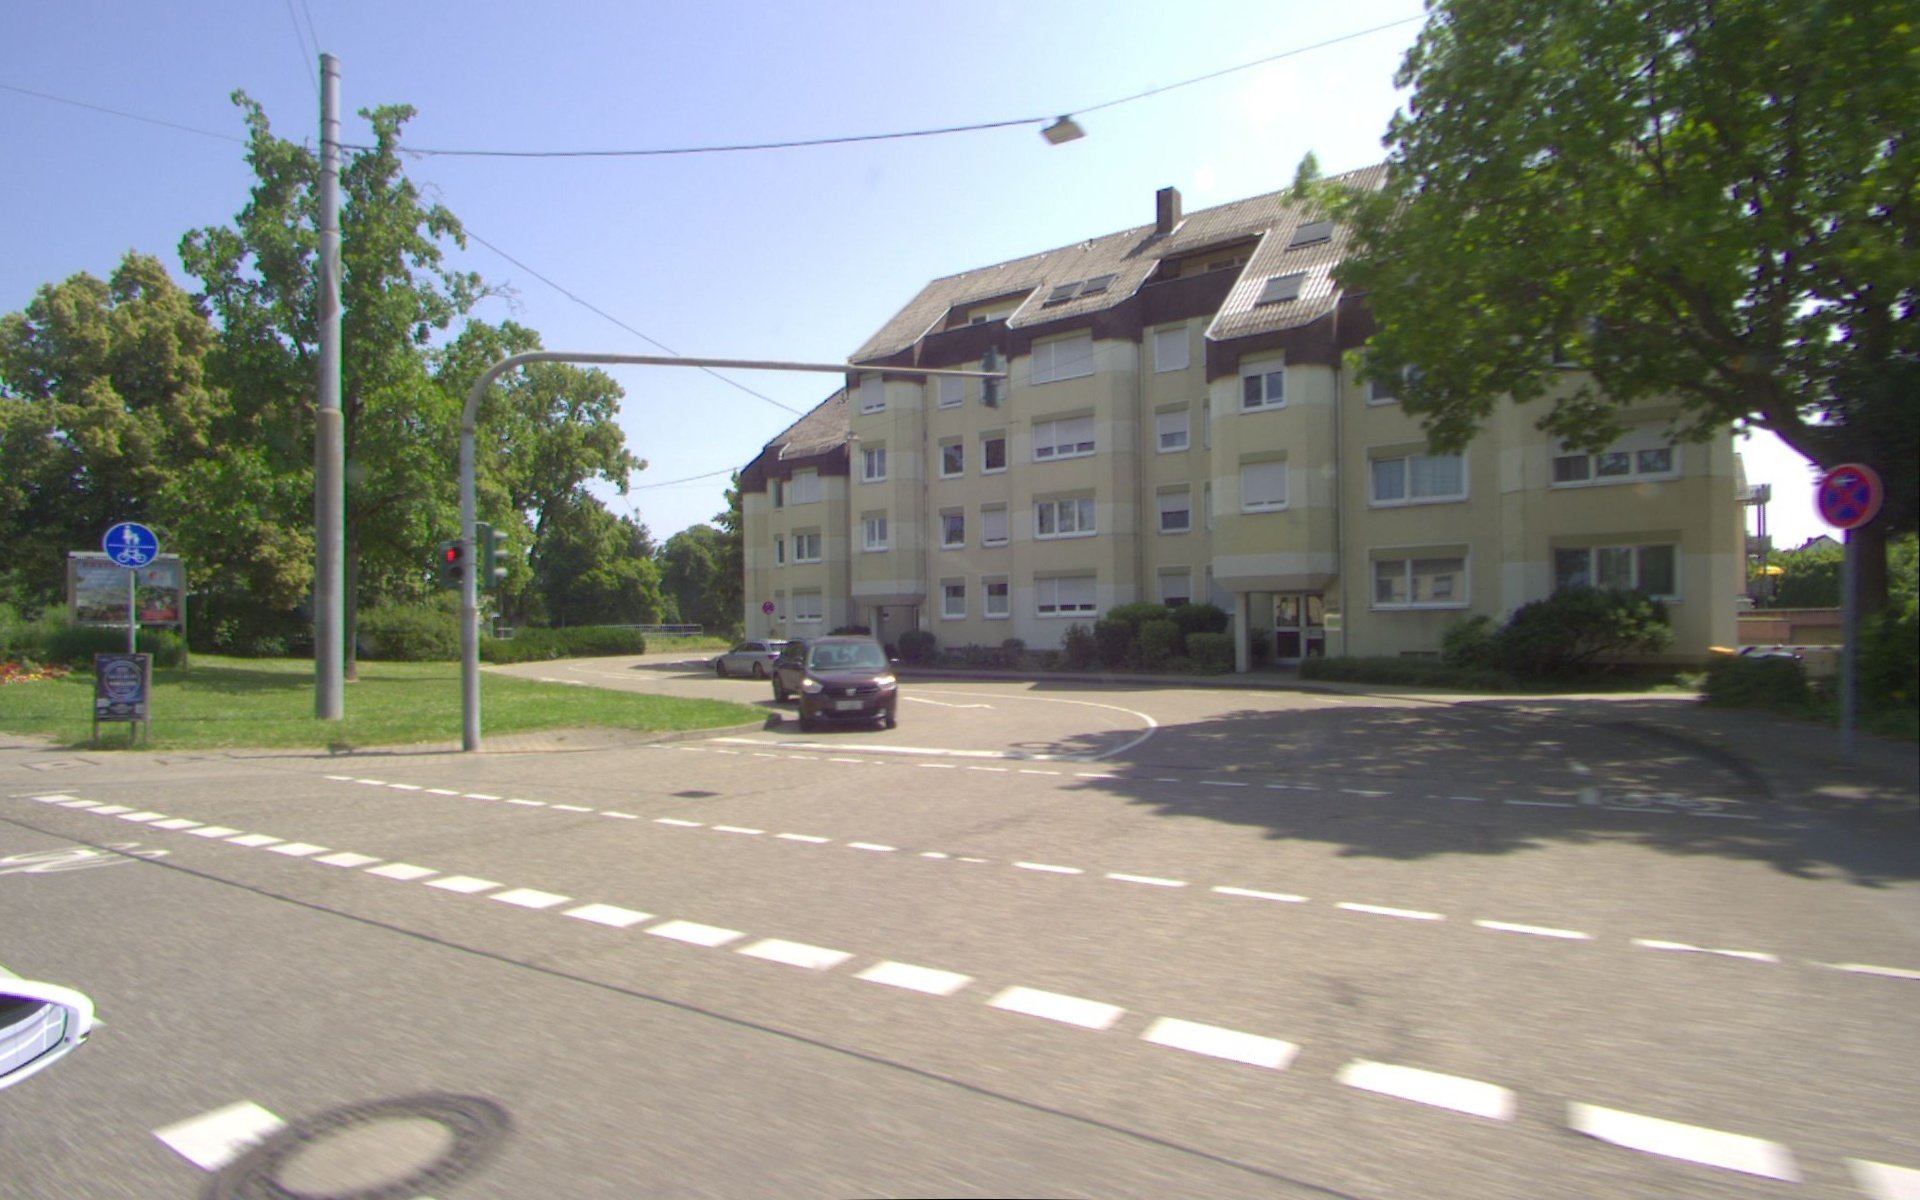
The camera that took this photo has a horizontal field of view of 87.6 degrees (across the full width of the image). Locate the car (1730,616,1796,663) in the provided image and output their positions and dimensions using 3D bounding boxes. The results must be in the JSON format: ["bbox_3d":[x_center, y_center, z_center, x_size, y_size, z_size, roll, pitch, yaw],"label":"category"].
[{"bbox_3d":[27.109,1.335,33.892,1.389,1.491,3.528,-1,-3,33],"label":"car"}]

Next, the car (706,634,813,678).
[{"bbox_3d":[-7.500,2.054,37.225,1.880,1.518,4.489,2,-3,-42],"label":"car"}]

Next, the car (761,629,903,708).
[{"bbox_3d":[-3.311,1.632,24.924,1.970,1.722,4.750,-1,-2,-27],"label":"car"}]

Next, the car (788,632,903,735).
[{"bbox_3d":[-2.268,1.480,18.944,1.881,1.652,4.818,-1,-2,-9],"label":"car"}]
